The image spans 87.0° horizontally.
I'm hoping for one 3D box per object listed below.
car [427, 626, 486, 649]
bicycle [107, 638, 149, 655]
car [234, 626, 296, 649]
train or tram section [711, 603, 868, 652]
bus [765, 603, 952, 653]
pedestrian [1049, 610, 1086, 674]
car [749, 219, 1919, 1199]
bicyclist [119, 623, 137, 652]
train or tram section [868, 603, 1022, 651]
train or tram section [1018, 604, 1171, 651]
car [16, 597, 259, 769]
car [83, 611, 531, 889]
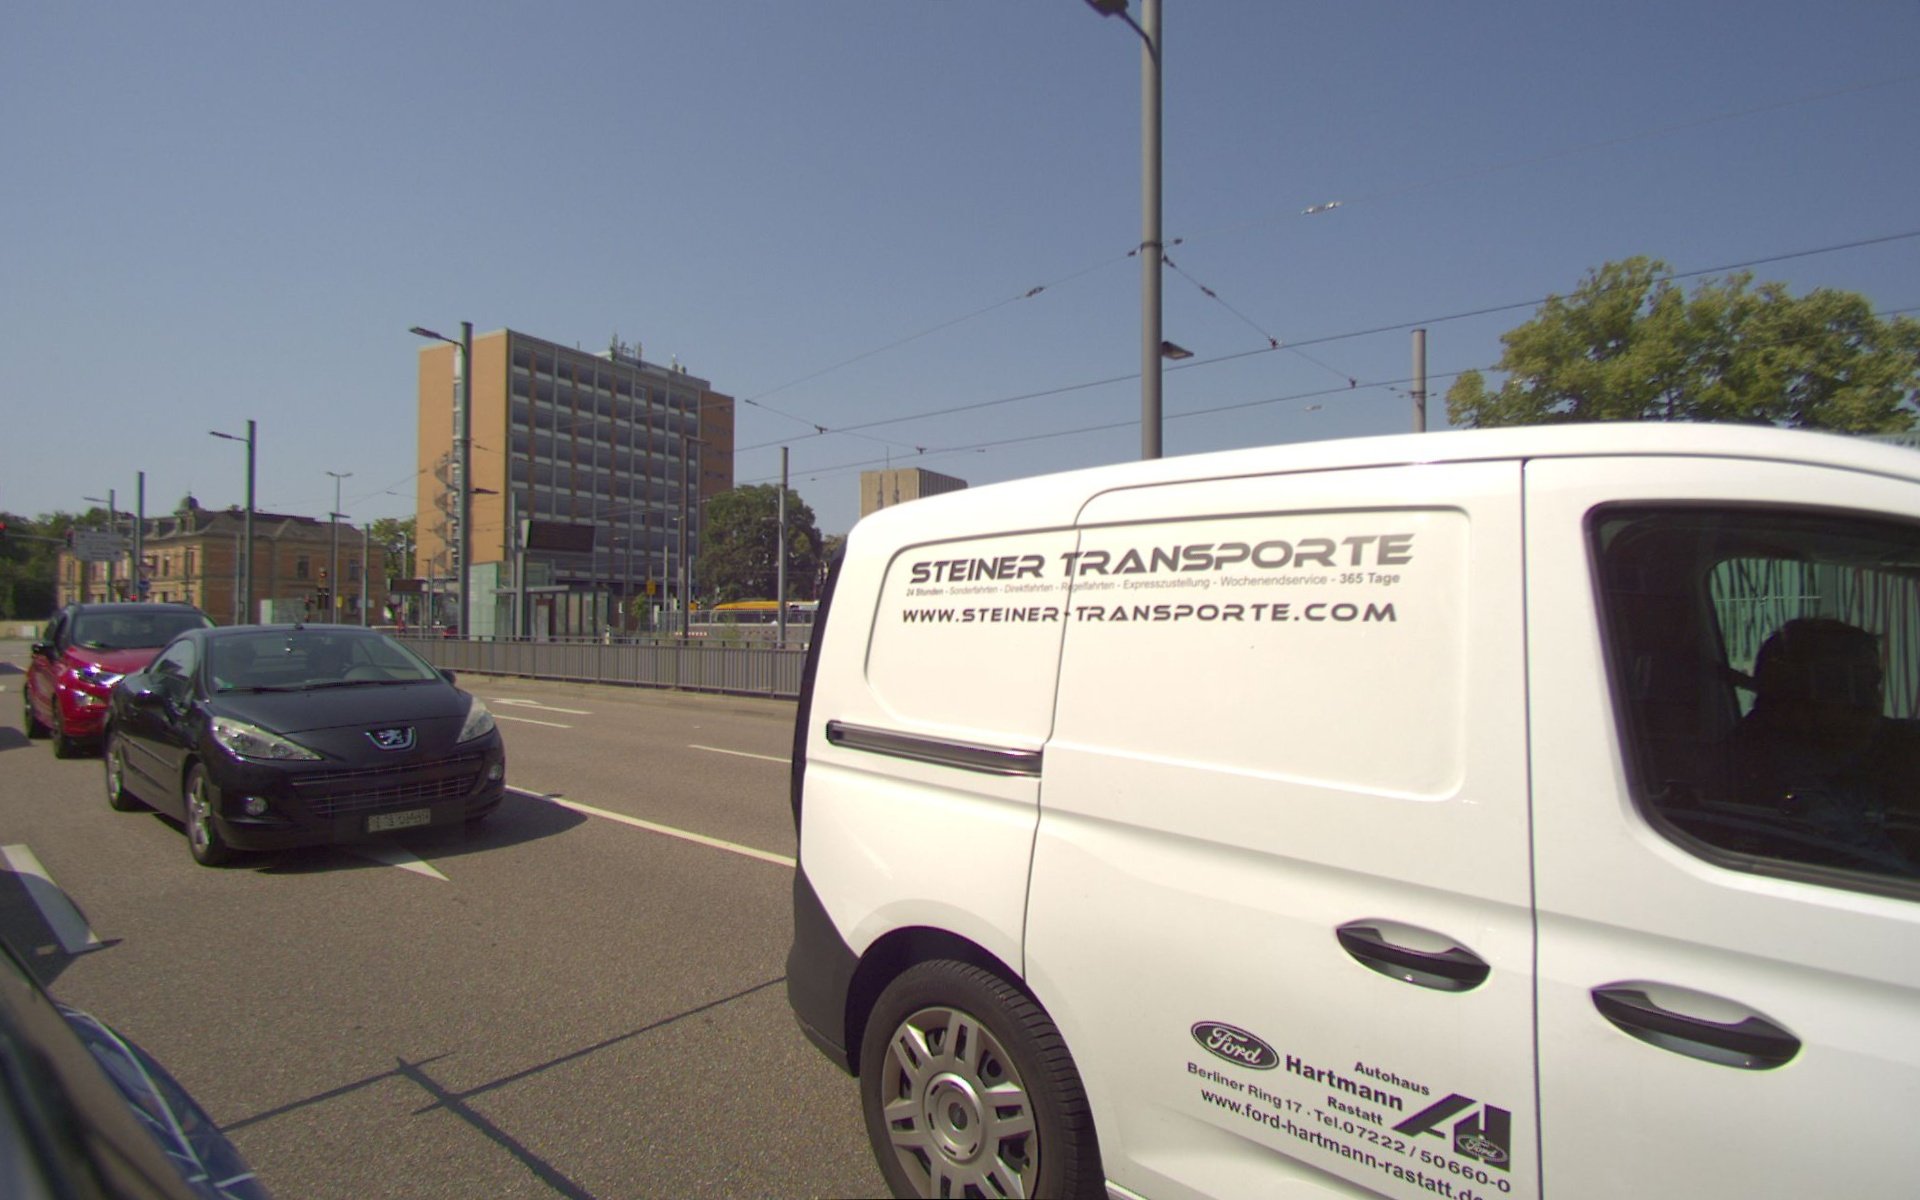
[{"bbox_3d":[-42.115,3.112,84.719,4.215,1.745,1.888,-1,0,-34],"label":"car"},{"bbox_3d":[-57.100,3.178,69.469,2.149,1.109,0.666,-1,0,-28],"label":"bicycle"},{"bbox_3d":[-52.990,2.875,77.236,3.816,1.597,1.693,-1,0,-34],"label":"car"},{"bbox_3d":[-13.403,2.177,80.450,12.180,3.794,2.002,0,-2,-4],"label":"train or tram section"},{"bbox_3d":[-7.298,1.981,73.638,13.205,3.319,3.354,-1,0,-4],"label":"bus"},{"bbox_3d":[3.082,1.200,29.047,0.761,1.801,0.735,-2,-3,42],"label":"pedestrian"},{"bbox_3d":[1.612,0.484,1.859,4.237,1.834,1.729,-1,-1,41],"label":"car"},{"bbox_3d":[-57.117,2.557,69.476,0.845,1.916,0.666,-1,-1,-28],"label":"bicyclist"},{"bbox_3d":[-1.248,2.217,81.350,12.180,3.794,2.002,0,-2,-4],"label":"train or tram section"},{"bbox_3d":[10.871,2.260,82.246,12.180,3.794,2.002,0,-2,-4],"label":"train or tram section"},{"bbox_3d":[-9.521,0.823,11.600,3.967,1.633,1.612,-1,-1,43],"label":"car"},{"bbox_3d":[-4.736,0.816,7.128,3.799,1.424,1.671,-1,-1,41],"label":"car"}]
